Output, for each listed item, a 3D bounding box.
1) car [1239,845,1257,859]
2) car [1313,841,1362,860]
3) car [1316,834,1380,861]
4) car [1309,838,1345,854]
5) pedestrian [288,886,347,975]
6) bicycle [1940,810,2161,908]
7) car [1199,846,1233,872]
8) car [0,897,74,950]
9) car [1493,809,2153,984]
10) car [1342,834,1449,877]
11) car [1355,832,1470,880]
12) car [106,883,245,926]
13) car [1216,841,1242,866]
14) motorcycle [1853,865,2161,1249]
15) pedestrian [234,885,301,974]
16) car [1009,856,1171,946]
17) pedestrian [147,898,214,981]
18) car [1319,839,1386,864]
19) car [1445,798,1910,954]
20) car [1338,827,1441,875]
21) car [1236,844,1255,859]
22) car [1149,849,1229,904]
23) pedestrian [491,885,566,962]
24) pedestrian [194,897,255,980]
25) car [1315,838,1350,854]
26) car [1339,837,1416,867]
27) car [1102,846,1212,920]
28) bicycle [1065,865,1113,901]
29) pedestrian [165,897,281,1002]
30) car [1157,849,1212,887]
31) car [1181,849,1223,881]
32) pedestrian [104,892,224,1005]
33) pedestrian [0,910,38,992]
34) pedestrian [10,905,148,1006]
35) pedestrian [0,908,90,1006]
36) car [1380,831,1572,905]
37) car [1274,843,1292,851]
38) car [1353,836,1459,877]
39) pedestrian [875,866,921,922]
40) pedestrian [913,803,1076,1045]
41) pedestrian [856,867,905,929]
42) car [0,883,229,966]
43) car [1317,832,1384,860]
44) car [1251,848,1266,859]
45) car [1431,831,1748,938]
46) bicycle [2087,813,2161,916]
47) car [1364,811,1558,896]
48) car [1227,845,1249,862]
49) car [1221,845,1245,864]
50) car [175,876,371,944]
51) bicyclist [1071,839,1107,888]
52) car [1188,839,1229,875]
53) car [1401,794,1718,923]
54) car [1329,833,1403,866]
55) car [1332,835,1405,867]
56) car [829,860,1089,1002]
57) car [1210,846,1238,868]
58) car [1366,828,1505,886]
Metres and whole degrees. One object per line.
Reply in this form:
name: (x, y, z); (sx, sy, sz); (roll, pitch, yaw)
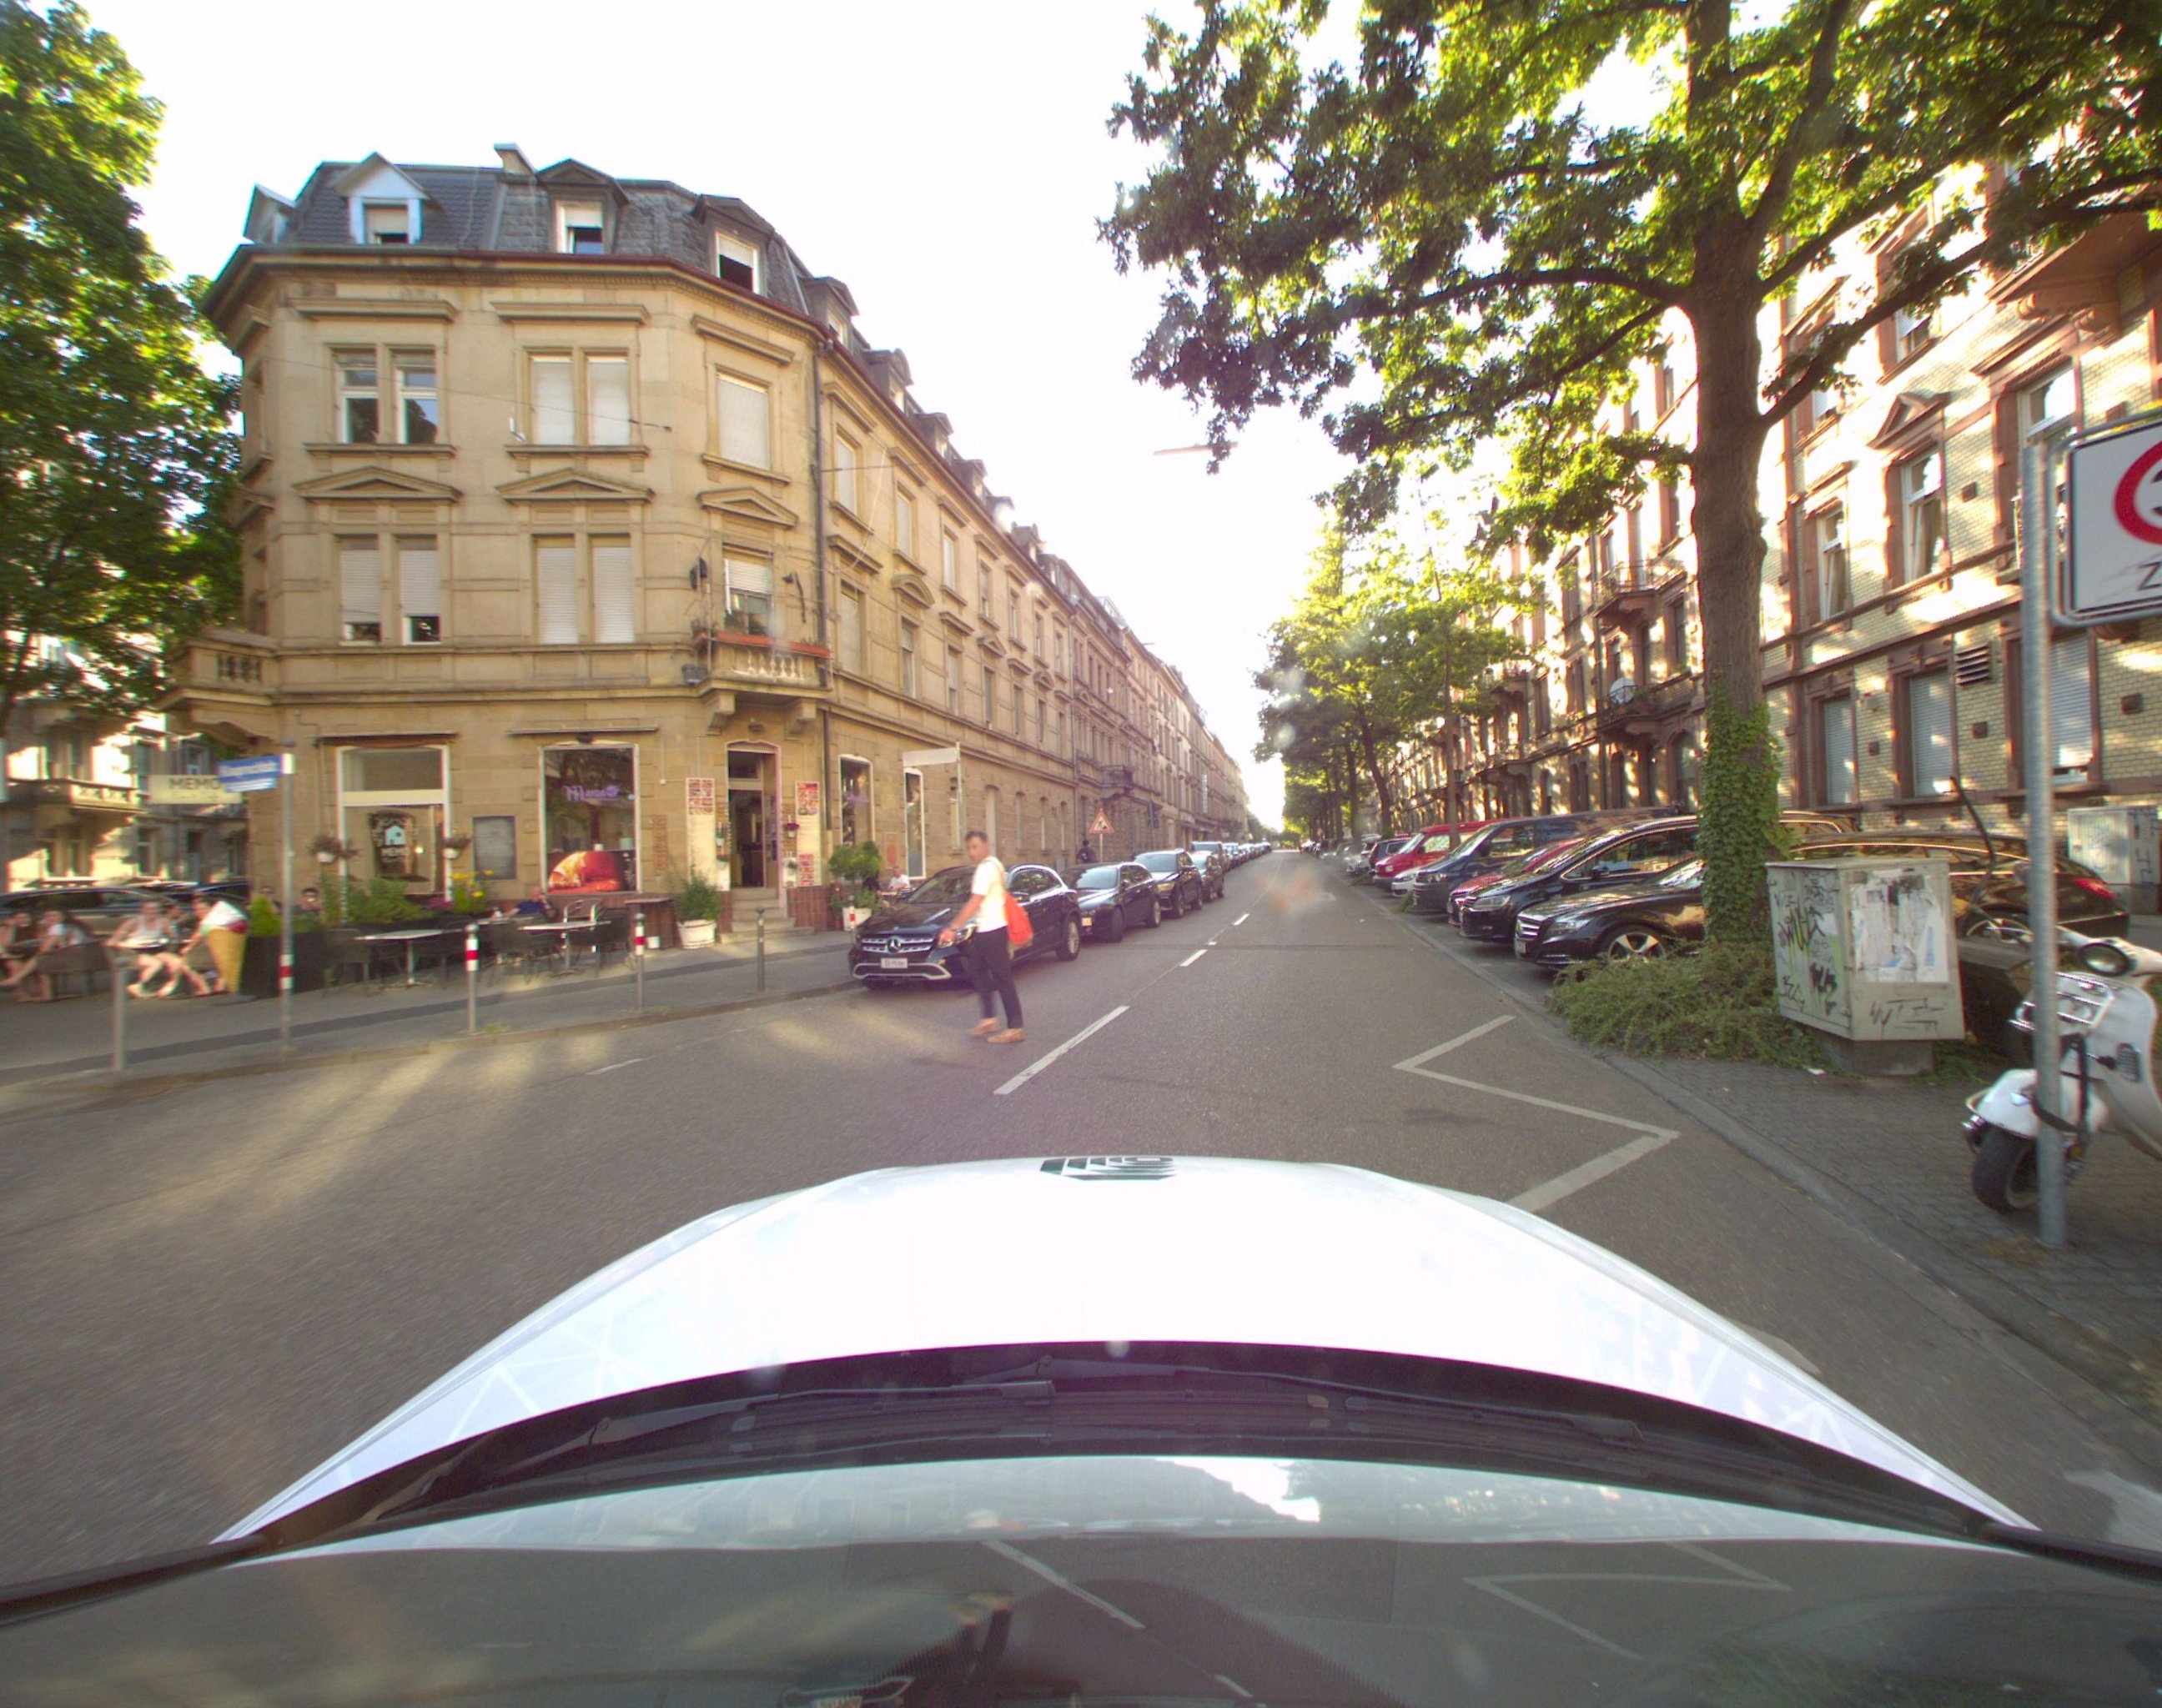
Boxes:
car: (18.442, -0.256, 89.912); (1.746, 1.473, 4.074); (-3, 0, 13)
car: (21.913, -0.324, 69.688); (3.825, 1.293, 1.723); (-4, 0, 11)
car: (20.692, -0.478, 63.166); (4.215, 1.795, 1.832); (-4, 0, -6)
car: (29.751, -0.963, 98.383); (3.830, 1.573, 1.721); (-4, 0, 6)
pedestrian: (-12.187, 1.211, 13.008); (0.478, 1.367, 0.434); (-2, 0, 6)
bicycle: (13.354, 0.061, 11.337); (0.665, 1.171, 2.604); (-5, -1, 17)
car: (8.749, 0.276, 52.562); (1.741, 1.608, 4.401); (-1, 1, 15)
car: (-30.756, 1.986, 22.539); (1.929, 1.376, 3.727); (-2, 0, -20)
car: (7.189, 0.466, 8.591); (4.748, 1.413, 1.859); (-4, -1, 17)
car: (14.466, 0.048, 37.731); (4.313, 1.556, 1.857); (-5, 0, 13)
car: (13.355, 0.080, 33.016); (3.983, 1.628, 1.811); (-4, -1, 12)
car: (-34.216, 1.867, 30.930); (1.929, 1.376, 3.727); (-2, 0, -20)
car: (11.596, -0.054, 63.640); (1.746, 1.842, 4.546); (-3, 0, 13)
motorcycle: (4.205, 0.667, 2.943); (1.884, 1.234, 0.689); (-5, -1, 14)
pedestrian: (-13.689, 1.256, 13.713); (0.565, 1.431, 0.482); (-2, 0, 3)
car: (0.361, 0.830, 16.248); (1.744, 1.451, 4.573); (-3, -1, 20)
pedestrian: (-14.338, 1.354, 12.974); (0.477, 1.248, 0.512); (-2, 0, 12)
car: (19.179, -0.189, 57.712); (4.195, 1.403, 1.840); (-4, 0, 9)
car: (7.584, 0.337, 10.995); (4.648, 1.679, 1.860); (-4, -1, 20)
car: (15.150, -0.168, 40.211); (4.414, 1.924, 1.856); (-5, 0, 11)
car: (17.223, -0.256, 85.284); (1.746, 1.473, 4.074); (-3, 0, 13)
car: (3.538, 0.674, 26.028); (1.744, 1.501, 4.078); (-3, 0, 18)
pedestrian: (-9.335, 1.151, 13.787); (0.724, 1.214, 0.755); (-2, 0, -5)
pedestrian: (-13.463, 1.320, 12.812); (0.477, 1.248, 0.435); (-2, 0, 12)
car: (31.009, -0.992, 100.558); (3.830, 1.573, 1.721); (-4, 0, 6)
car: (17.179, -0.107, 47.415); (3.981, 1.467, 1.740); (-4, -1, 14)
car: (2.103, 0.659, 21.100); (1.744, 1.600, 4.572); (-3, 0, 19)
bicycle: (0.355, 1.092, 31.253); (0.988, 1.158, 2.936); (-3, 1, 17)
pedestrian: (-11.503, 1.261, 10.940); (0.740, 1.289, 0.744); (-2, 0, 4)
car: (4.763, 0.608, 36.933); (1.745, 1.501, 4.078); (-3, 0, 17)
car: (6.172, 0.527, 41.307); (1.580, 1.475, 3.715); (-1, 1, 16)
pedestrian: (-12.334, 1.255, 10.981); (0.751, 1.411, 0.728); (-2, 0, 2)
pedestrian: (-16.815, 1.520, 12.587); (0.660, 1.215, 0.681); (-4, 0, 25)
pedestrian: (-13.584, 1.360, 11.058); (1.014, 1.248, 0.751); (-2, 0, 11)
pedestrian: (-14.469, 1.402, 11.224); (0.699, 1.248, 0.752); (-2, 0, 12)
car: (9.924, 0.356, 20.799); (4.025, 1.510, 1.886); (-4, -1, 14)
car: (49.068, -1.767, 198.134); (3.952, 1.859, 1.761); (-1, 0, 22)
car: (14.027, 0.115, 35.387); (3.982, 1.434, 1.801); (-5, -1, 13)
pedestrian: (-4.169, 0.892, 18.567); (0.720, 1.214, 0.759); (-2, 0, 12)
pedestrian: (-0.702, 0.571, 6.903); (1.107, 1.898, 0.845); (-2, -1, 10)
pedestrian: (-4.272, 0.925, 17.399); (0.720, 1.259, 0.759); (-2, 0, 12)
car: (-22.159, 1.541, 18.403); (1.780, 1.562, 3.861); (-3, 0, 39)
car: (22.020, -0.652, 66.700); (5.020, 1.925, 1.842); (-4, 0, 14)
car: (26.534, -0.052, 121.665); (1.979, 1.486, 4.014); (-3, -2, 13)
car: (8.124, 0.499, 13.436); (4.075, 1.534, 1.731); (-2, 0, 15)
bicycle: (12.609, 0.113, 8.874); (0.665, 1.171, 2.604); (-5, -1, 17)
car: (10.765, 0.010, 23.436); (4.644, 2.033, 1.885); (-4, -1, 11)
car: (14.397, -0.080, 74.483); (1.746, 1.473, 4.074); (-3, 0, 13)
car: (12.849, 0.017, 68.556); (1.746, 1.473, 4.074); (-3, 0, 13)
car: (-24.089, 1.599, 24.413); (1.975, 1.684, 4.024); (-3, 0, 44)
bicyclist: (0.317, 0.365, 31.261); (0.988, 1.789, 1.213); (-3, 0, 17)
car: (7.422, 0.146, 46.955); (1.819, 1.943, 5.281); (-1, 1, 14)
car: (9.173, 0.117, 16.120); (4.986, 2.215, 2.000); (-2, 0, 13)
car: (18.364, -0.318, 52.657); (4.191, 1.776, 1.842); (-4, 0, 13)
car: (17.569, -0.191, 49.889); (3.981, 1.607, 1.740); (-4, -1, 14)
car: (-1.406, 0.905, 11.166); (1.744, 1.488, 4.158); (-3, -1, 19)
car: (10.376, 0.199, 59.042); (1.746, 1.467, 4.015); (0, 1, 13)
car: (12.182, 0.114, 28.288); (4.153, 1.628, 1.846); (-4, -1, 17)
